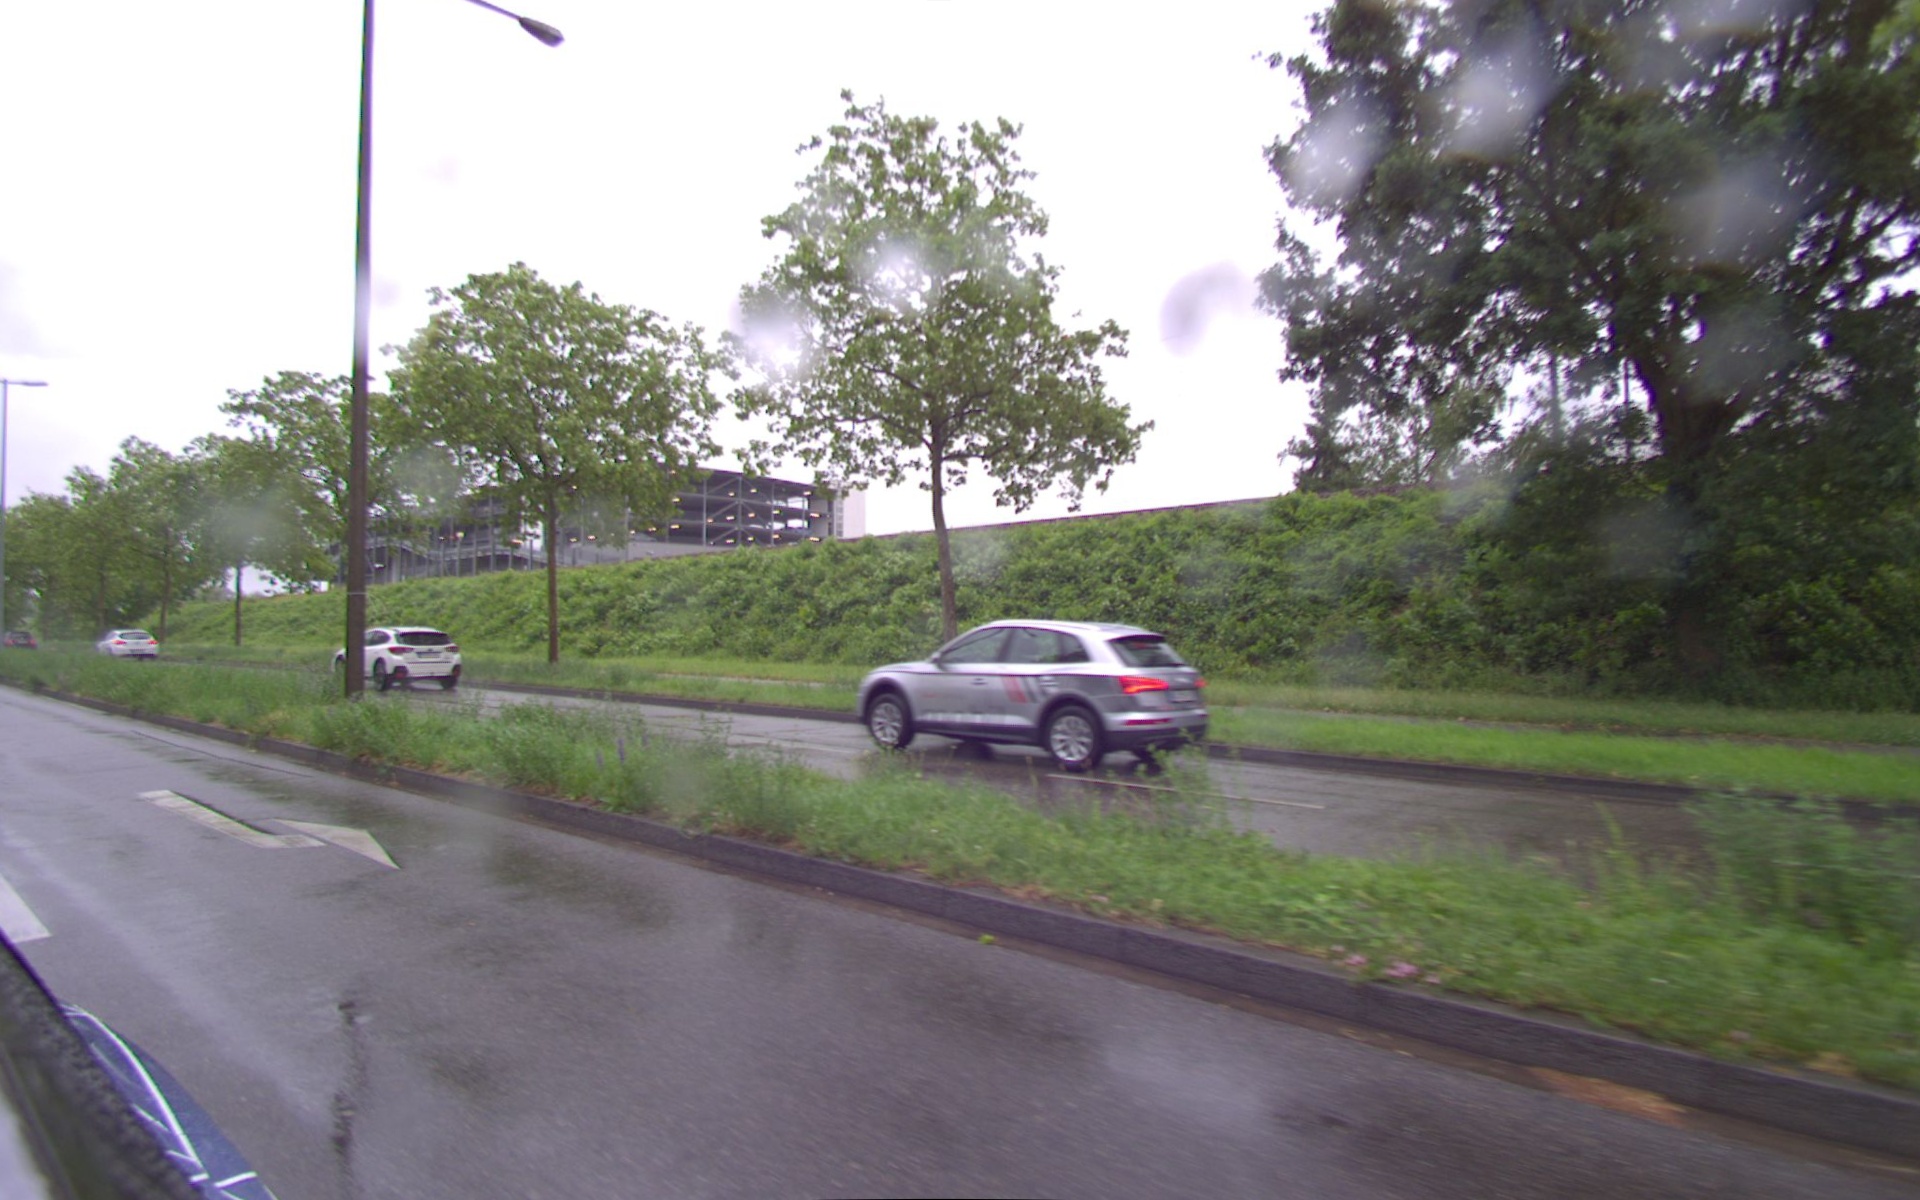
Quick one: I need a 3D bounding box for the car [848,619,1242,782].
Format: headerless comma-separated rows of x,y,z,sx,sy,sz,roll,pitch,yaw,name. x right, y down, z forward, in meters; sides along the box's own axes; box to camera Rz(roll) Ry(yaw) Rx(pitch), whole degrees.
0.874,1.073,12.166,4.516,1.601,1.837,-2,-4,41,car

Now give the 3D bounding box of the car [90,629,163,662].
-39.614,2.148,48.064,4.654,1.456,1.911,-2,-2,41,car

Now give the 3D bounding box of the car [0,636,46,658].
-62.622,3.119,67.574,3.705,1.456,1.911,-2,-2,41,car

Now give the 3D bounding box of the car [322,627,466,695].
-14.642,1.515,26.087,4.516,1.601,1.837,-2,-3,41,car
